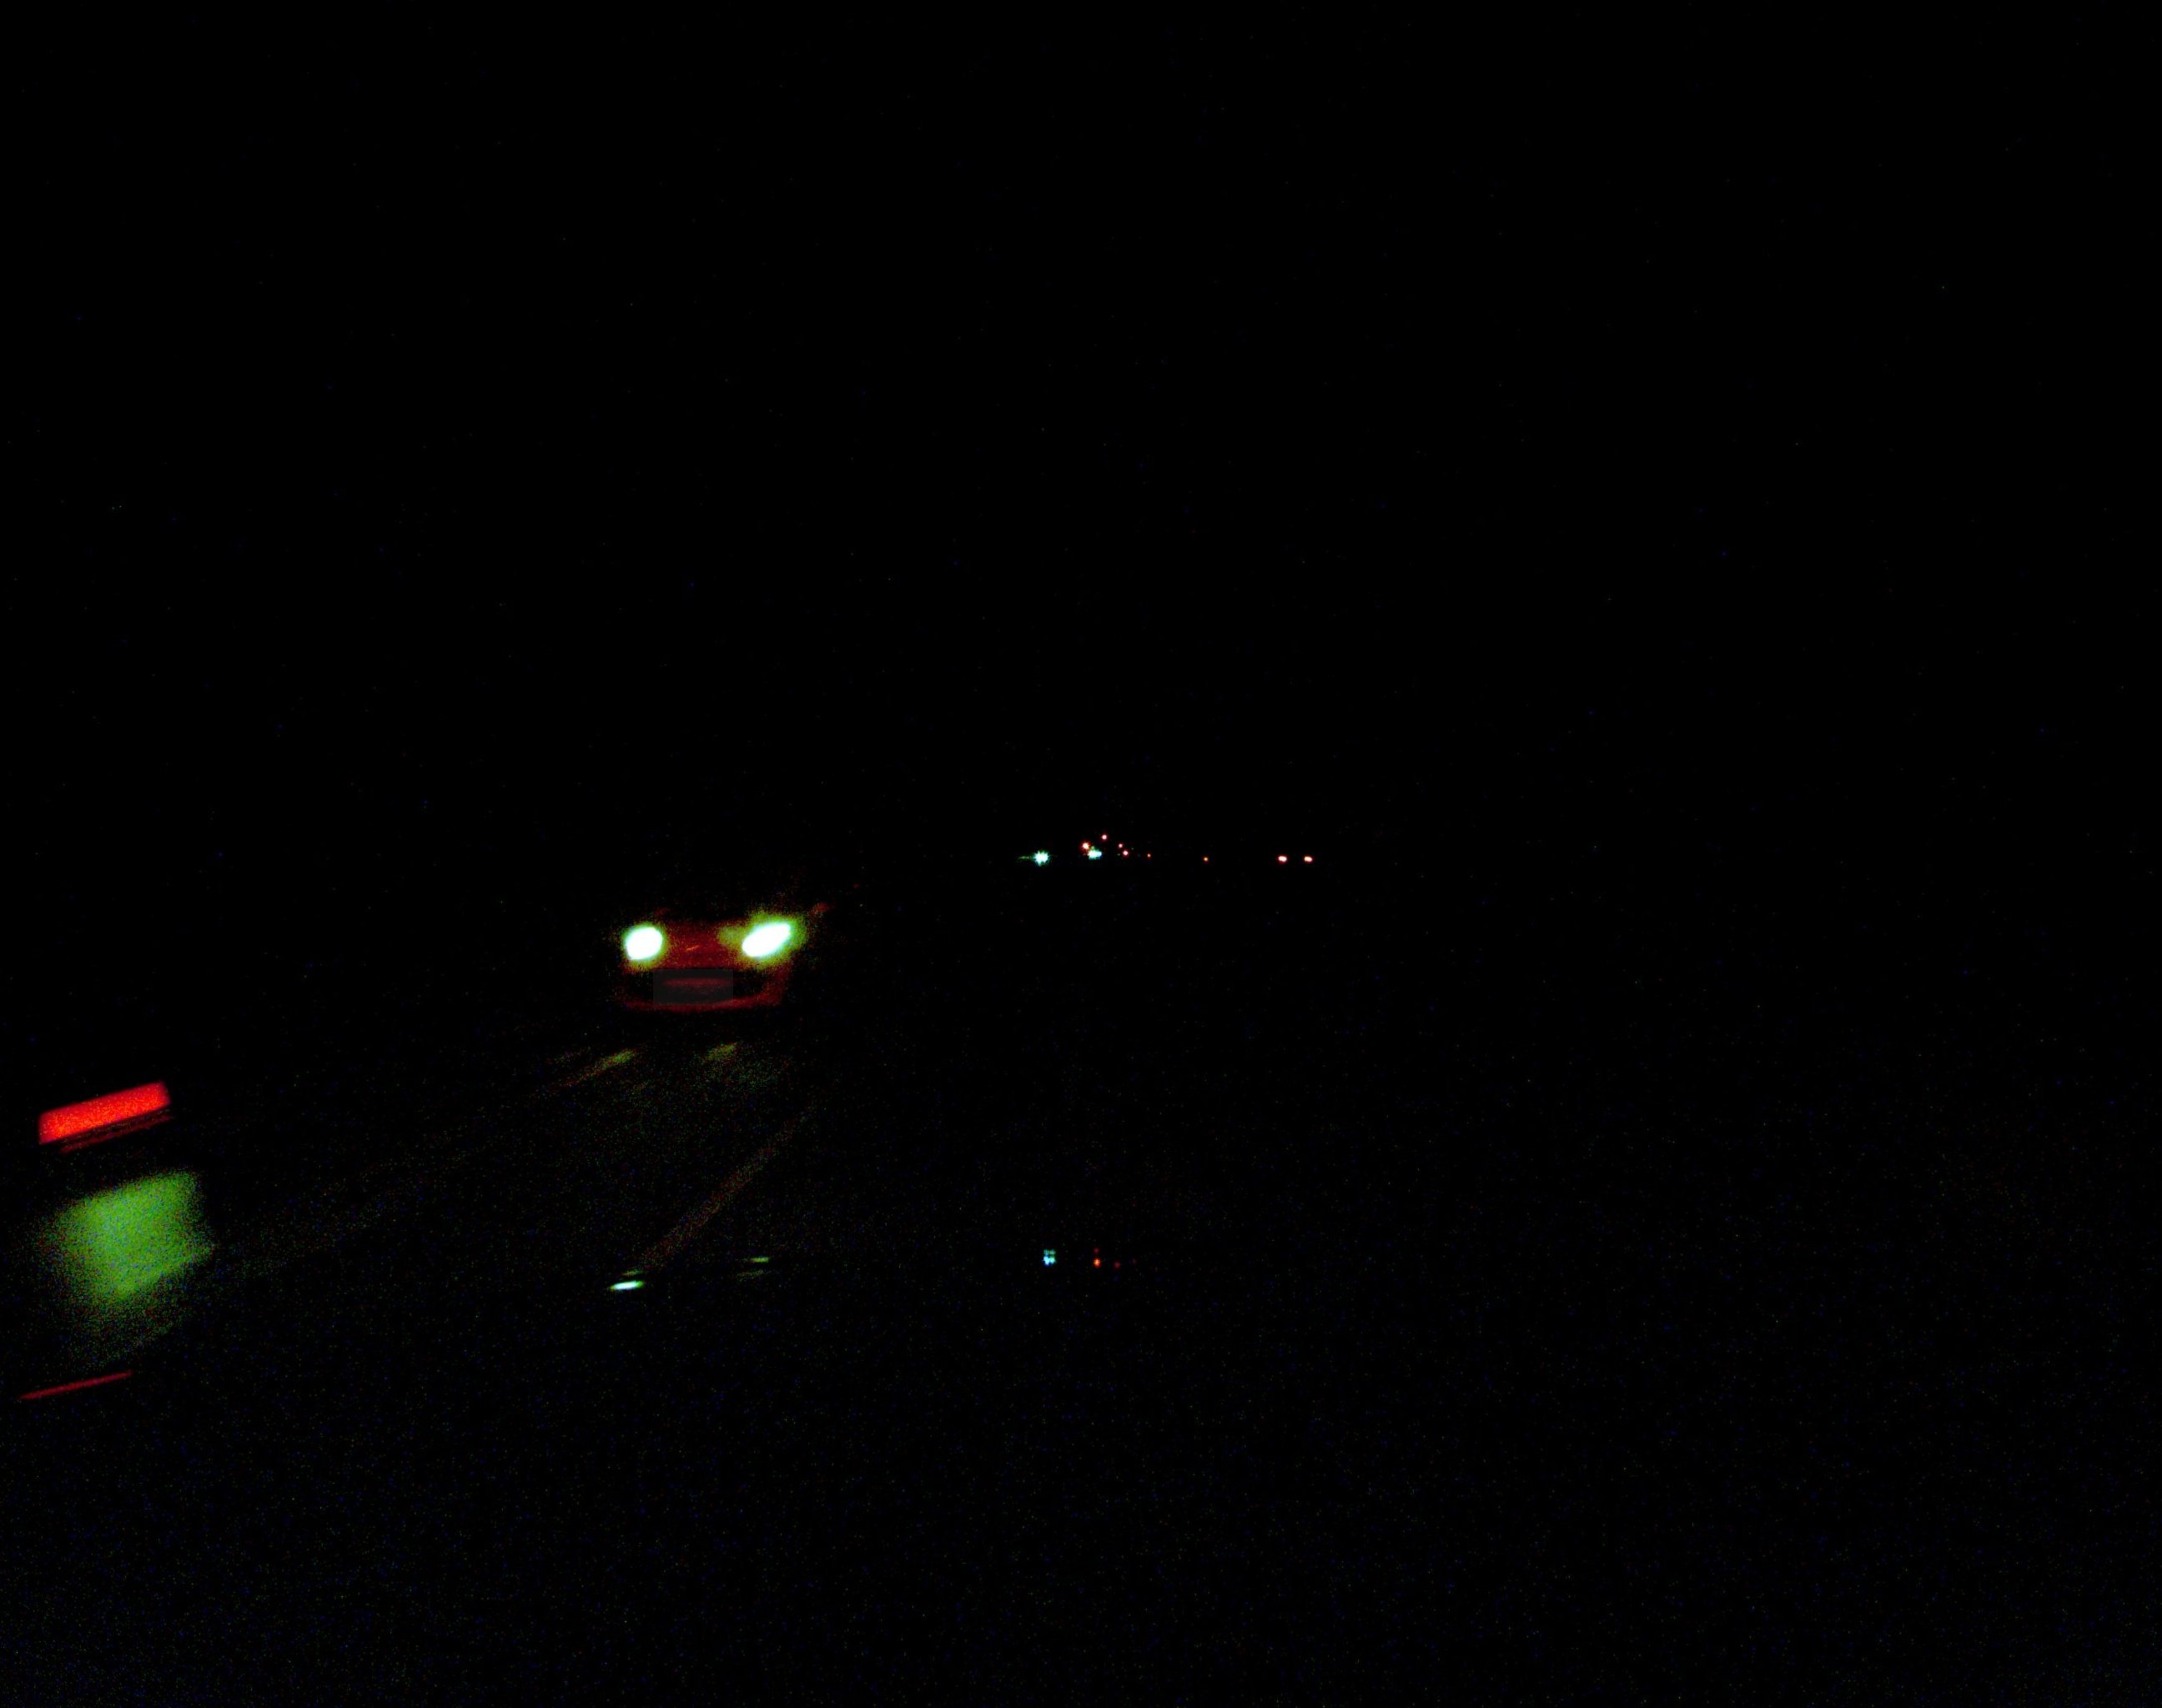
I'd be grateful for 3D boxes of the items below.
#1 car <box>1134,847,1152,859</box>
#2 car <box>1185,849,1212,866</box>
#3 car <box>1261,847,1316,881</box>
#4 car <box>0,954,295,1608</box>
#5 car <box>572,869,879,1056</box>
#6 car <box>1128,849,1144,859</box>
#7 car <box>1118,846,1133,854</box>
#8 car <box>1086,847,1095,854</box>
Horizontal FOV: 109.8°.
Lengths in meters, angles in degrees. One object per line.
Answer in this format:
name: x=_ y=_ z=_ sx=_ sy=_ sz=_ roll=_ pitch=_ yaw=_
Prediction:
car: x=9.039 y=-0.151 z=110.647 sx=2.127 sy=1.621 sz=4.697 roll=-1 pitch=1 yaw=0
car: x=11.289 y=0.330 z=73.201 sx=1.958 sy=1.478 sz=4.698 roll=1 pitch=1 yaw=2
car: x=9.660 y=0.427 z=35.543 sx=1.549 sy=1.511 sz=3.515 roll=1 pitch=1 yaw=0
car: x=-3.442 y=1.099 z=0.344 sx=1.763 sy=1.451 sz=4.191 roll=-2 pitch=1 yaw=0
car: x=-3.501 y=0.963 z=8.247 sx=1.657 sy=1.442 sz=3.489 roll=-2 pitch=1 yaw=0
car: x=9.270 y=0.018 z=128.391 sx=2.128 sy=1.545 sz=4.696 roll=-1 pitch=1 yaw=-4
car: x=8.652 y=-0.742 z=148.009 sx=2.128 sy=1.545 sz=4.696 roll=-1 pitch=1 yaw=-4
car: x=2.101 y=-0.800 z=171.681 sx=1.931 sy=1.510 sz=3.999 roll=-1 pitch=1 yaw=-1
